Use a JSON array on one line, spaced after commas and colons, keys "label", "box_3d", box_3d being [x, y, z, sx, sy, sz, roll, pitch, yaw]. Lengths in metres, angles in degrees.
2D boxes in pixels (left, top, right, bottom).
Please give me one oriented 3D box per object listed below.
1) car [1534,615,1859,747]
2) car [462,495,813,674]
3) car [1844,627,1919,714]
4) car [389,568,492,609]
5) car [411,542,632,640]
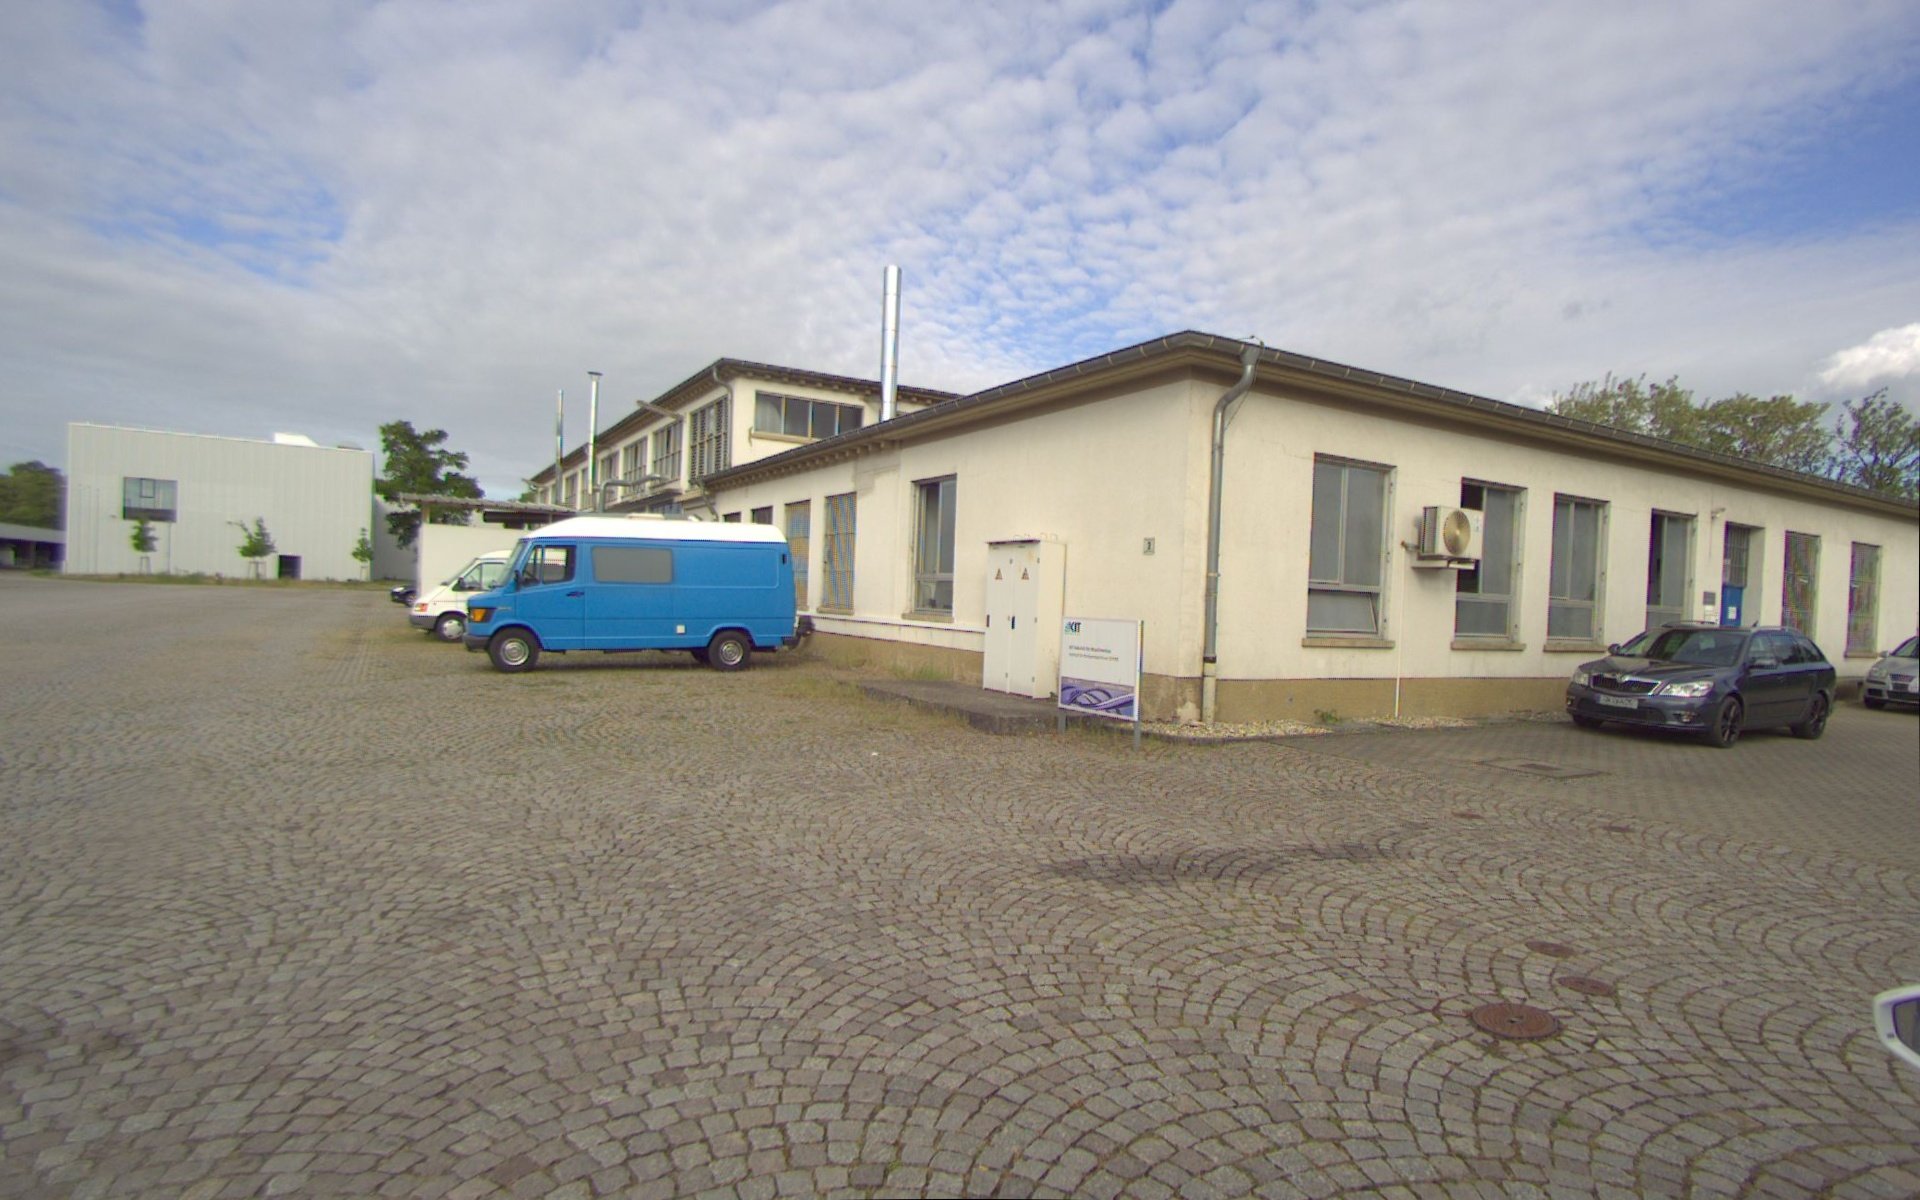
[{"label": "car", "box_3d": [10.043, 1.008, 13.601, 4.757, 1.458, 1.914, 2, 0, -32]}, {"label": "car", "box_3d": [-5.348, -0.198, 16.834, 5.329, 2.617, 1.986, 1, 1, -28]}, {"label": "car", "box_3d": [18.435, 1.309, 18.613, 4.319, 1.458, 1.914, 2, 0, -32]}, {"label": "car", "box_3d": [-24.451, -0.498, 47.294, 4.109, 1.666, 1.982, 3, -2, -33]}, {"label": "car", "box_3d": [-10.366, -0.175, 23.876, 4.626, 2.138, 1.986, 1, 1, -28]}]
